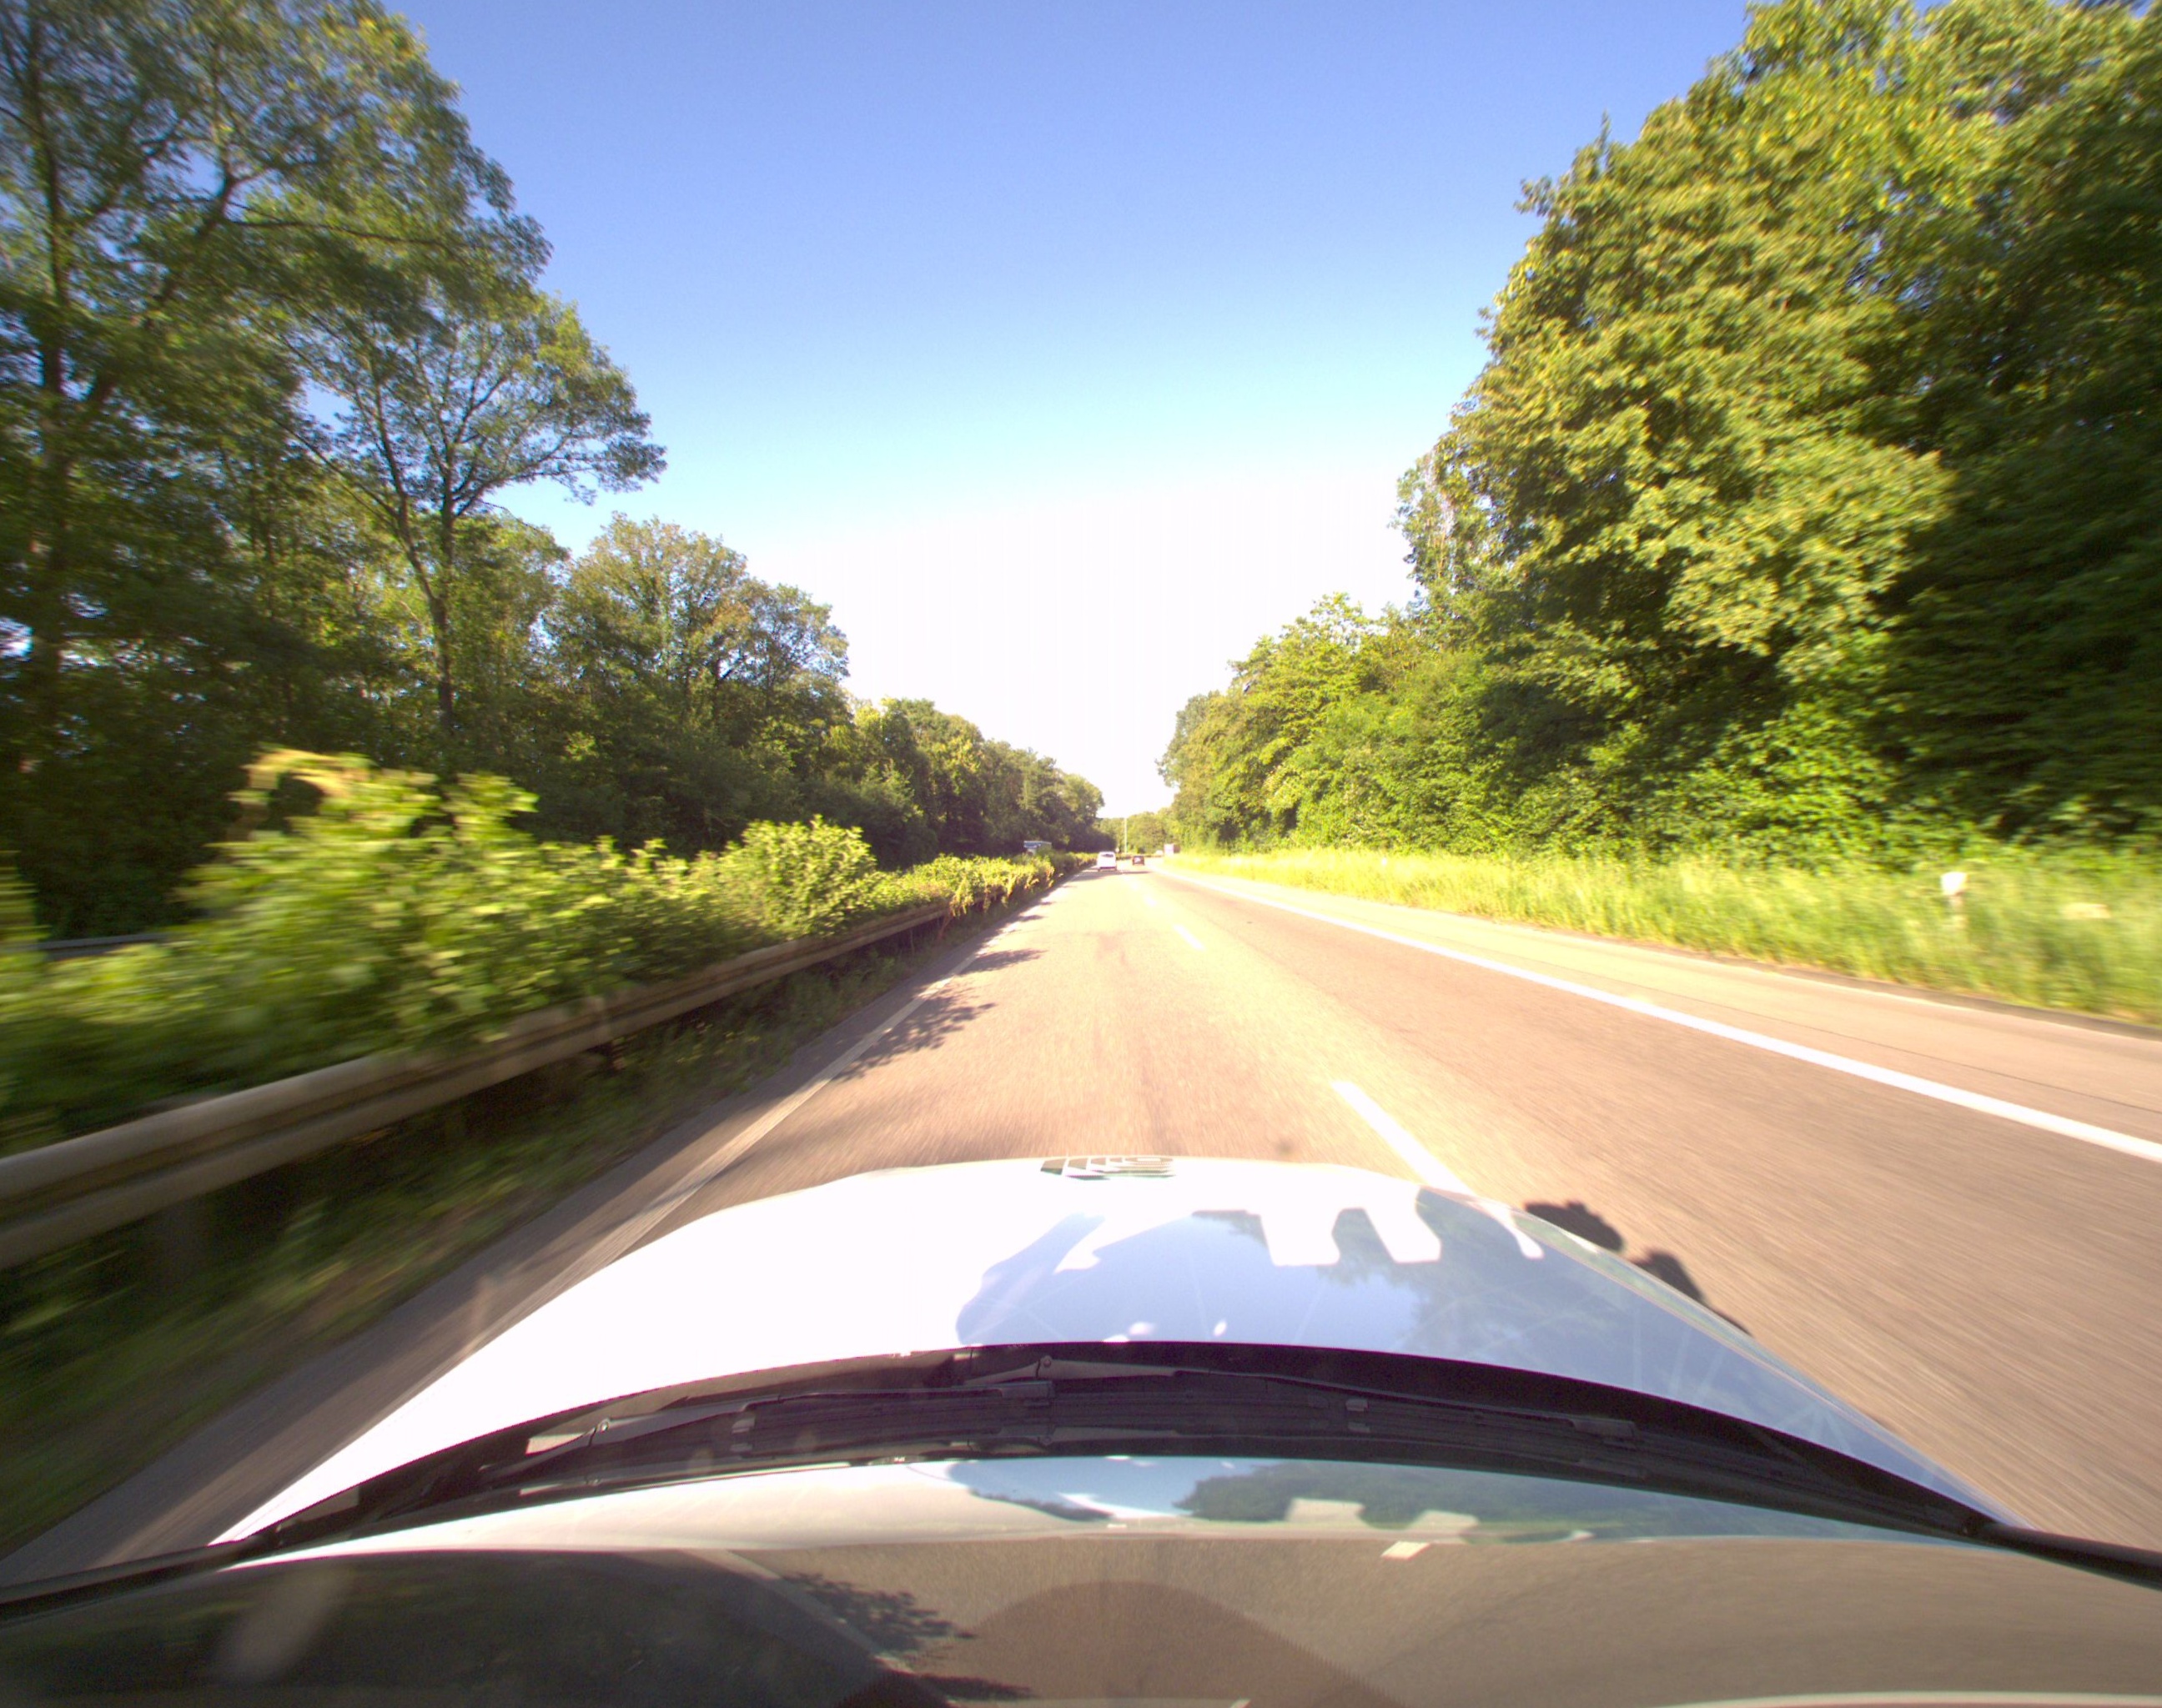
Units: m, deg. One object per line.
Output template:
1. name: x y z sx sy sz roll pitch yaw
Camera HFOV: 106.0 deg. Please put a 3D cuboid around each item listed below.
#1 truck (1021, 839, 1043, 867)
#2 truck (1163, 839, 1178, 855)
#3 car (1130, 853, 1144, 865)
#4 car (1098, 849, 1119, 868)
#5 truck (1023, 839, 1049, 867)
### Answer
1. truck: -7.322 -0.156 121.946 2.705 4.097 5.439 0 -1 2
2. truck: 25.476 -2.030 231.441 3.711 4.343 9.332 -1 -1 11
3. car: 8.166 0.705 118.985 1.944 1.782 4.588 0 0 1
4. car: 2.650 0.465 78.367 1.944 1.782 4.588 0 0 1
5. truck: -7.028 -0.102 129.069 2.697 4.096 14.029 0 0 2
